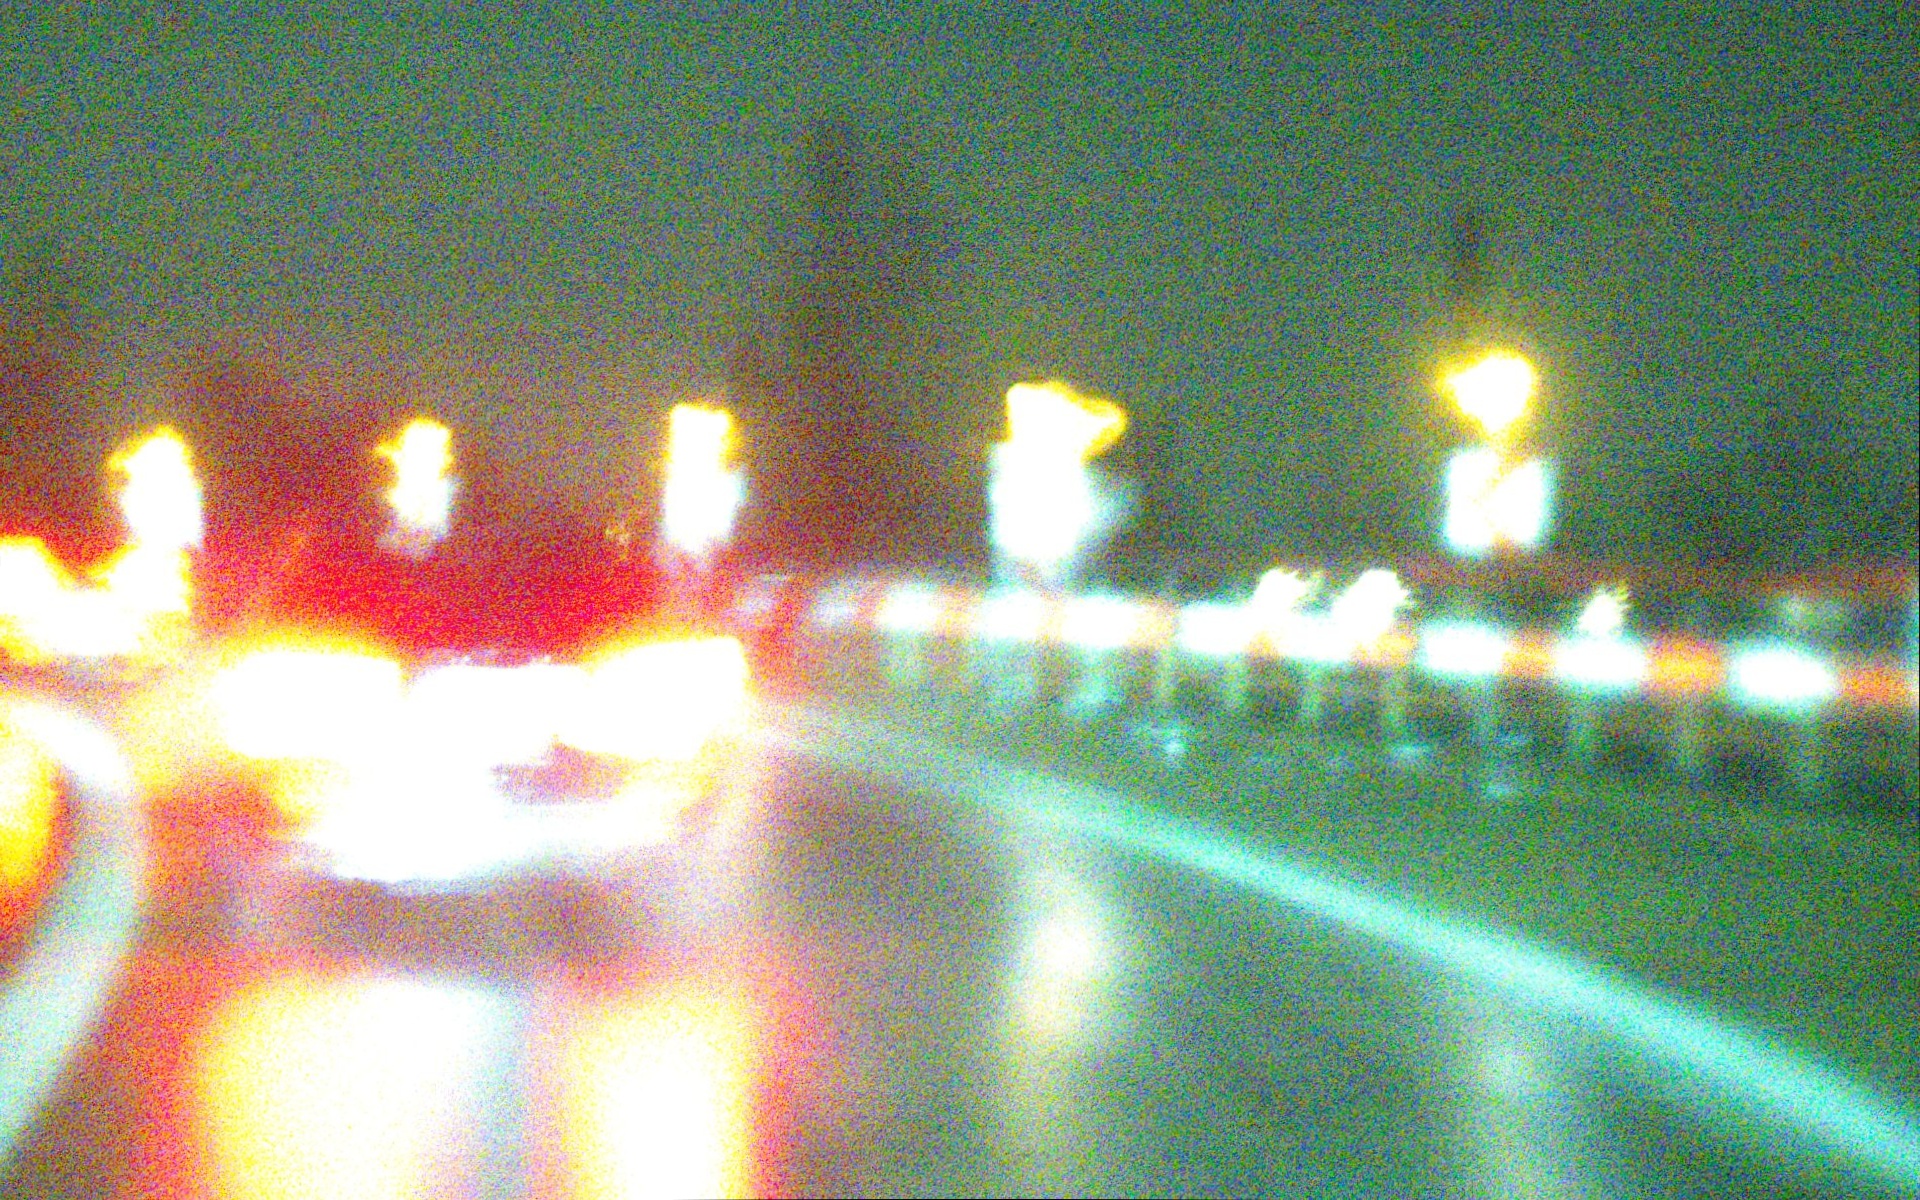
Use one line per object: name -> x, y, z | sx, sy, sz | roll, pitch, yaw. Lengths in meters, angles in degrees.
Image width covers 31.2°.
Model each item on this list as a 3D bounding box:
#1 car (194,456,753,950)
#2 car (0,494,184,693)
car -> -1.992, 0.279, 13.681 | 1.860, 1.641, 4.070 | -1, 2, -10
car -> -8.426, -0.105, 31.739 | 1.895, 1.714, 4.047 | 0, 1, -21
